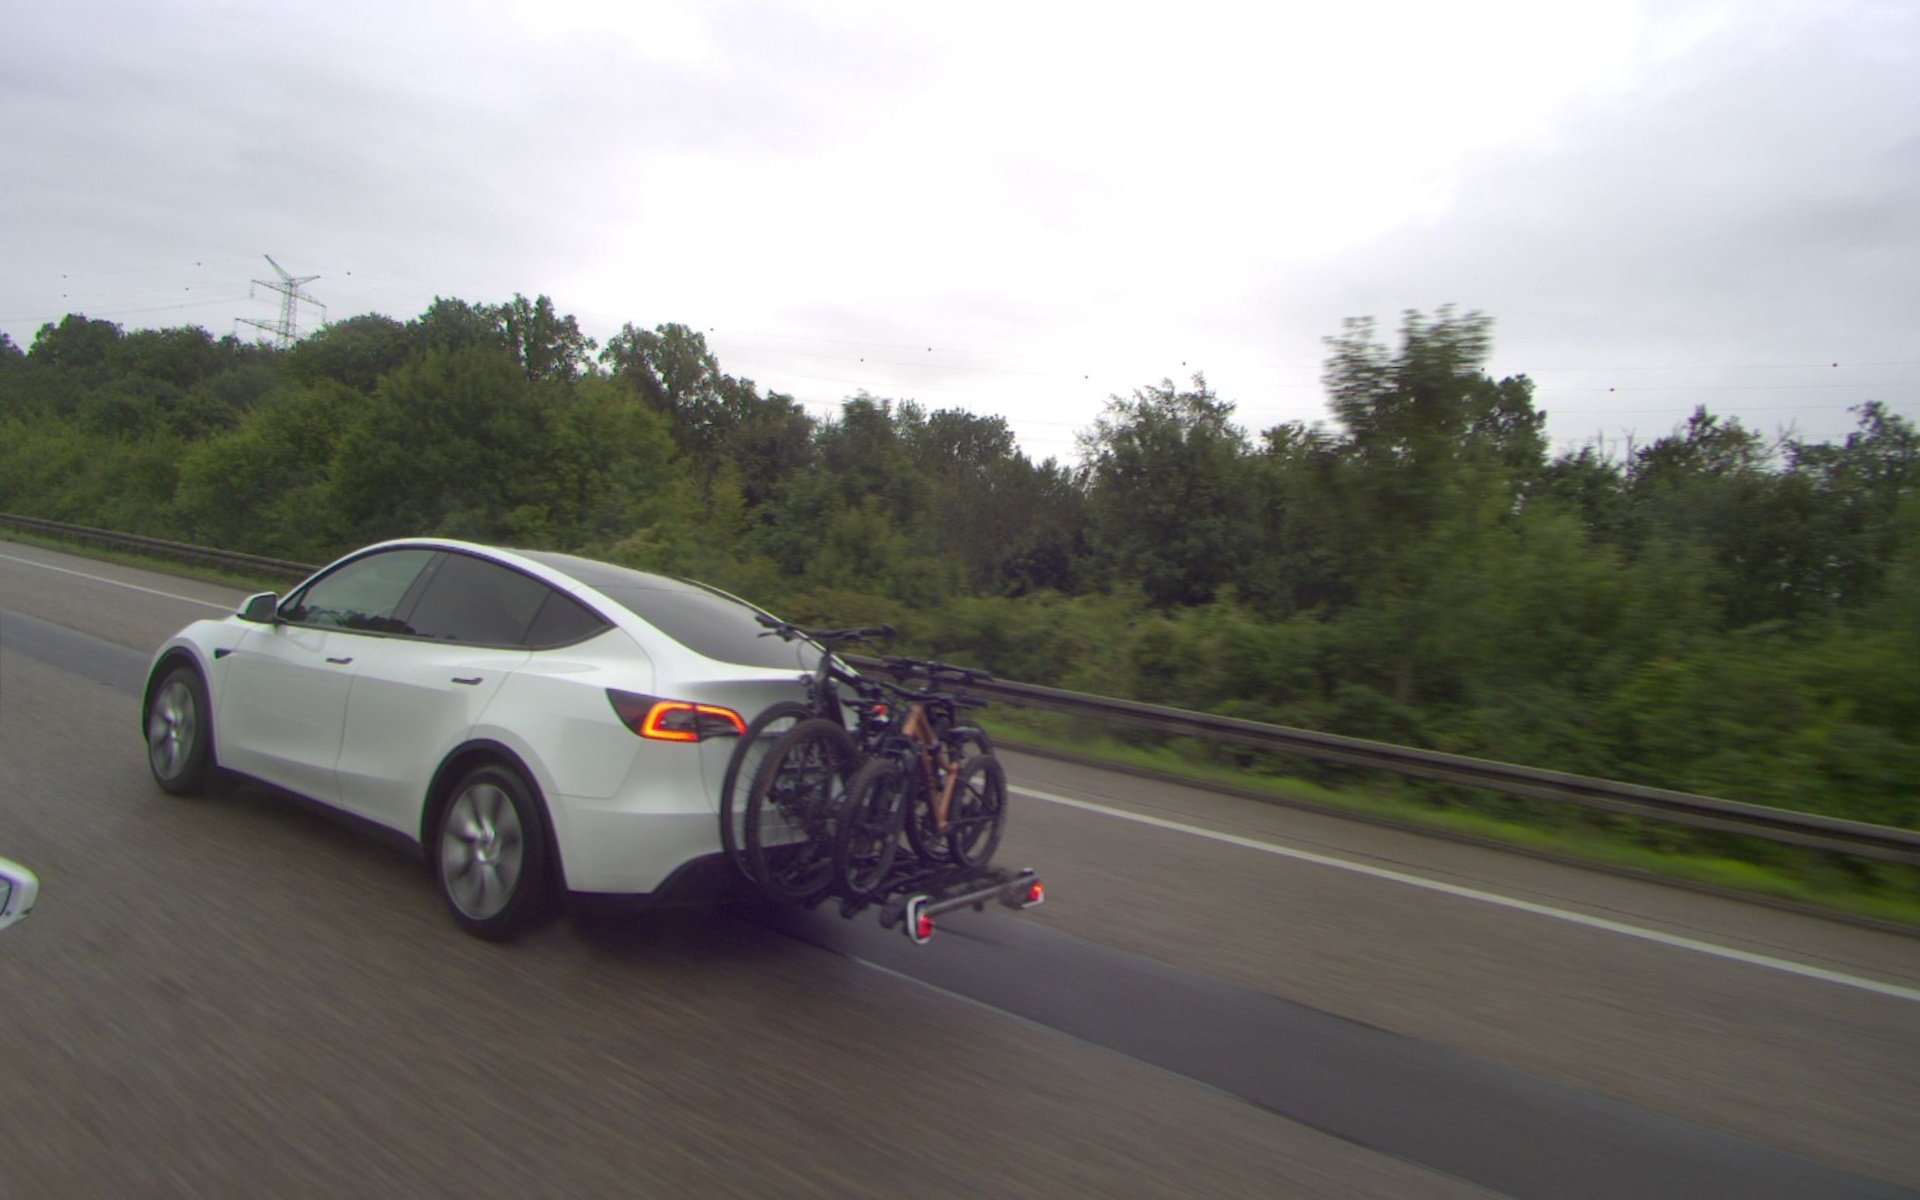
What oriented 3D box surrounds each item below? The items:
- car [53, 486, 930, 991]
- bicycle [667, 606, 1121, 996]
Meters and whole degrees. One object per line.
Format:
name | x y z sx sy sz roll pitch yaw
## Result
car | -2.799 0.435 5.612 4.880 1.586 1.864 7 -1 30
bicycle | -0.143 0.681 4.022 0.898 1.103 1.757 6 -2 30
